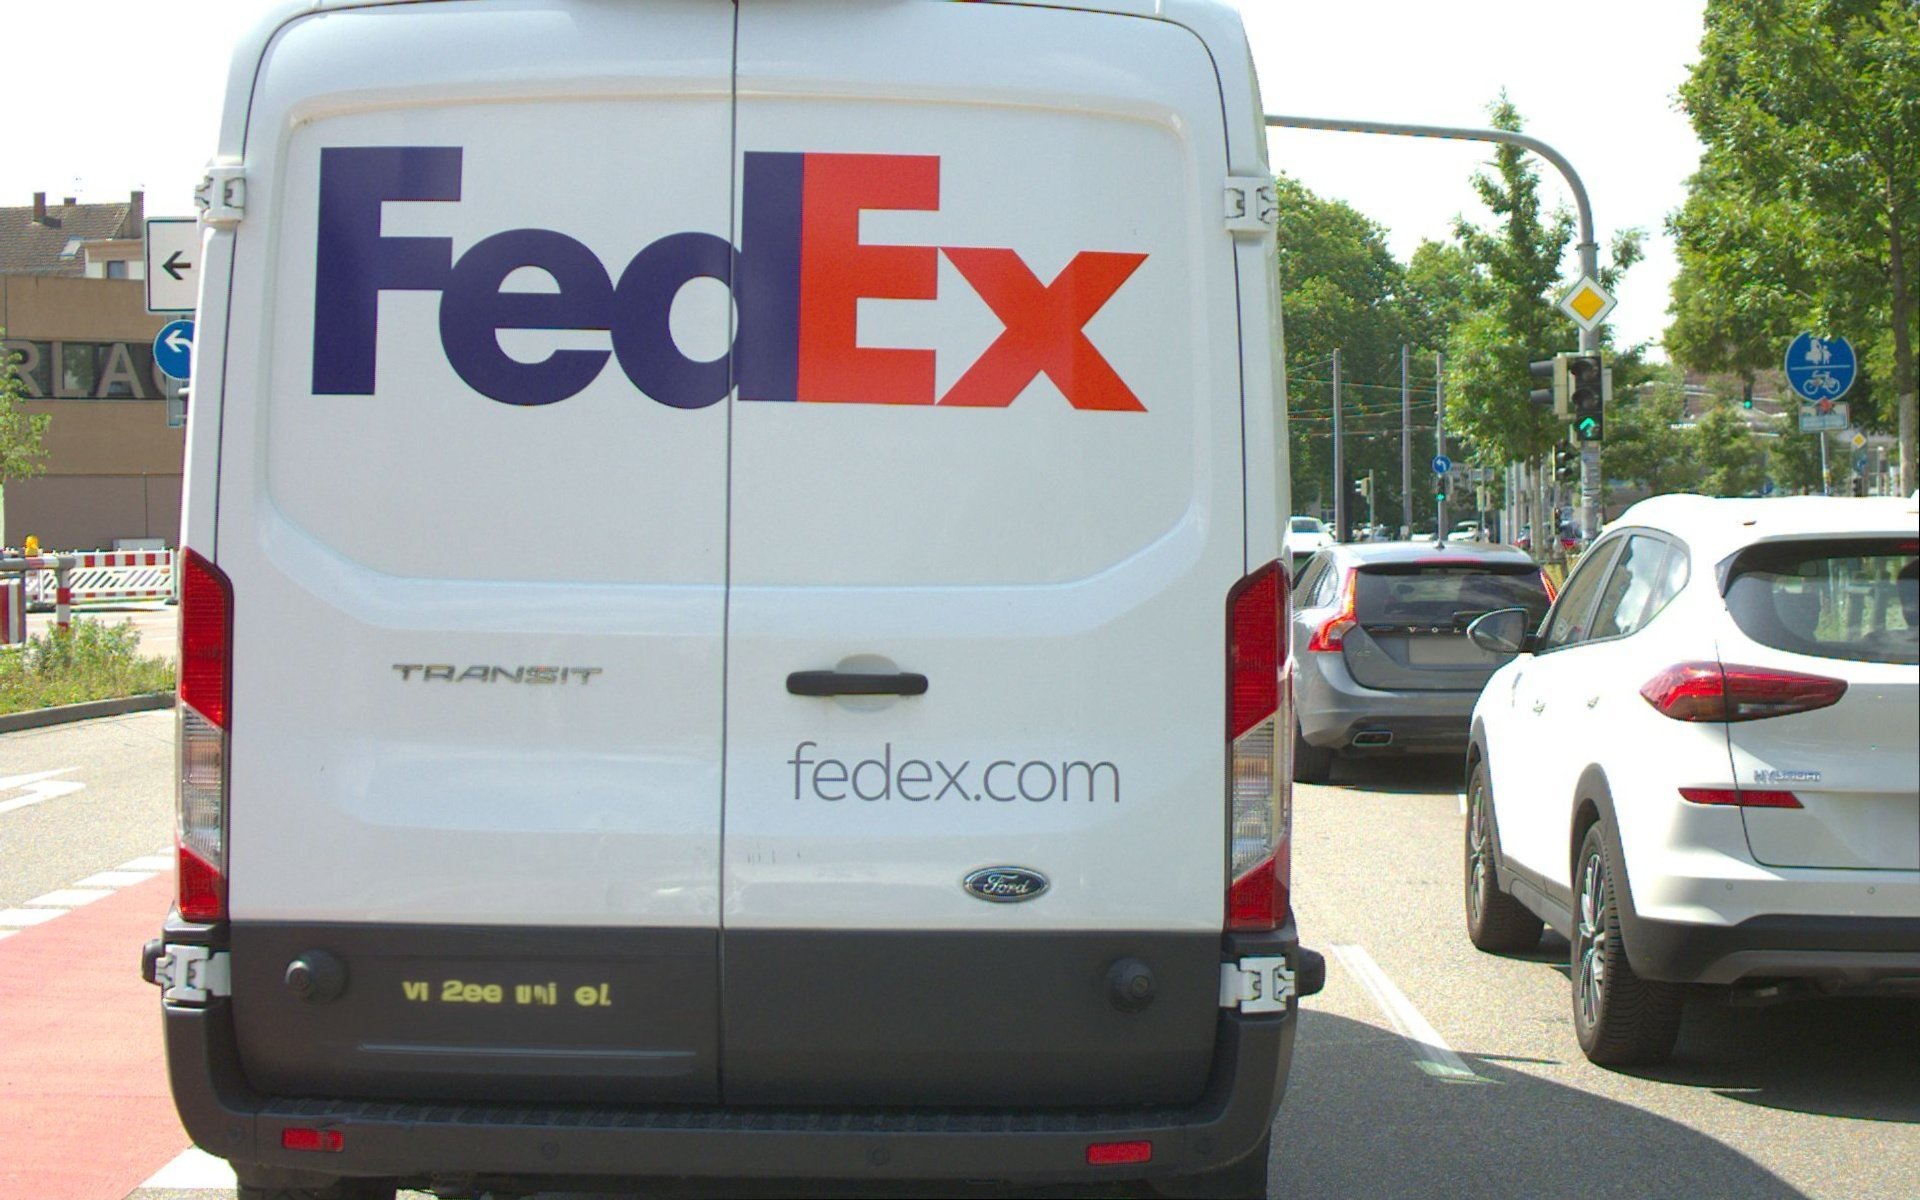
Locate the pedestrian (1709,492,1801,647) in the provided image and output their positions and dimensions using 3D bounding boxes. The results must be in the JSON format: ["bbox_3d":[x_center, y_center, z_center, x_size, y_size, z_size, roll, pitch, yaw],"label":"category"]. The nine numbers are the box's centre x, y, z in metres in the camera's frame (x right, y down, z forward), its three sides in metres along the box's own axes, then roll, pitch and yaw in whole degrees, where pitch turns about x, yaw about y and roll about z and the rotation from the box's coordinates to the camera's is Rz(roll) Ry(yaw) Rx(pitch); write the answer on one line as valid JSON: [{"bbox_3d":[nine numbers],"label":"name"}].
[{"bbox_3d":[9.319,-0.364,40.302,0.749,1.771,0.882,-2,1,-6],"label":"pedestrian"}]

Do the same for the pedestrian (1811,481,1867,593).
[{"bbox_3d":[14.343,-1.034,56.097,0.750,1.796,0.609,-2,1,6],"label":"pedestrian"}]

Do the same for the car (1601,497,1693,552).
[{"bbox_3d":[21.122,-2.332,105.595,1.883,1.635,3.952,0,2,25],"label":"car"}]

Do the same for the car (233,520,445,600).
[{"bbox_3d":[-12.224,-0.778,67.837,1.997,1.503,4.010,1,1,30],"label":"car"}]

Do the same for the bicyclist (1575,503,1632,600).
[{"bbox_3d":[11.001,-0.825,58.796,0.828,1.596,0.579,-3,0,7],"label":"bicyclist"}]

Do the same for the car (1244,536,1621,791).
[{"bbox_3d":[2.866,0.329,21.628,1.915,1.415,3.918,-1,1,1],"label":"car"}]

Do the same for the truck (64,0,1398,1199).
[{"bbox_3d":[-0.405,0.002,8.515,2.137,2.631,5.918,1,1,-1],"label":"truck"}]

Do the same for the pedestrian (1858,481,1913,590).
[{"bbox_3d":[15.150,-1.056,56.287,0.750,1.746,0.609,-2,1,6],"label":"pedestrian"}]

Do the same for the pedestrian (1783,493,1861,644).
[{"bbox_3d":[10.163,-0.373,40.548,0.666,1.740,0.609,-2,1,-6],"label":"pedestrian"}]

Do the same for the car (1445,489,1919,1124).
[{"bbox_3d":[2.743,0.475,10.978,1.881,1.635,4.233,-1,1,1],"label":"car"}]

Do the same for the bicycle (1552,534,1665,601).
[{"bbox_3d":[11.084,-0.546,58.787,1.810,1.046,0.591,-3,0,7],"label":"bicycle"}]

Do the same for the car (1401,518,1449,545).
[{"bbox_3d":[29.069,-4.273,214.852,1.996,1.568,4.173,1,1,21],"label":"car"}]

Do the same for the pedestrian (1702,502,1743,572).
[{"bbox_3d":[17.404,-1.441,78.485,0.756,1.584,0.761,1,0,2],"label":"pedestrian"}]

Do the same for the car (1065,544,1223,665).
[{"bbox_3d":[2.547,0.022,46.730,1.881,1.501,4.154,1,2,6],"label":"car"}]

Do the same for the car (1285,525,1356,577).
[{"bbox_3d":[14.244,-1.933,135.708,1.995,2.007,4.119,1,1,17],"label":"car"}]

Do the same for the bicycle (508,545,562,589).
[{"bbox_3d":[-8.932,-0.696,72.340,0.776,0.886,2.108,-1,1,3],"label":"bicycle"}]

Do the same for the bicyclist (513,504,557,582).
[{"bbox_3d":[-8.941,-1.206,72.334,0.776,1.613,0.843,-1,1,3],"label":"bicyclist"}]
